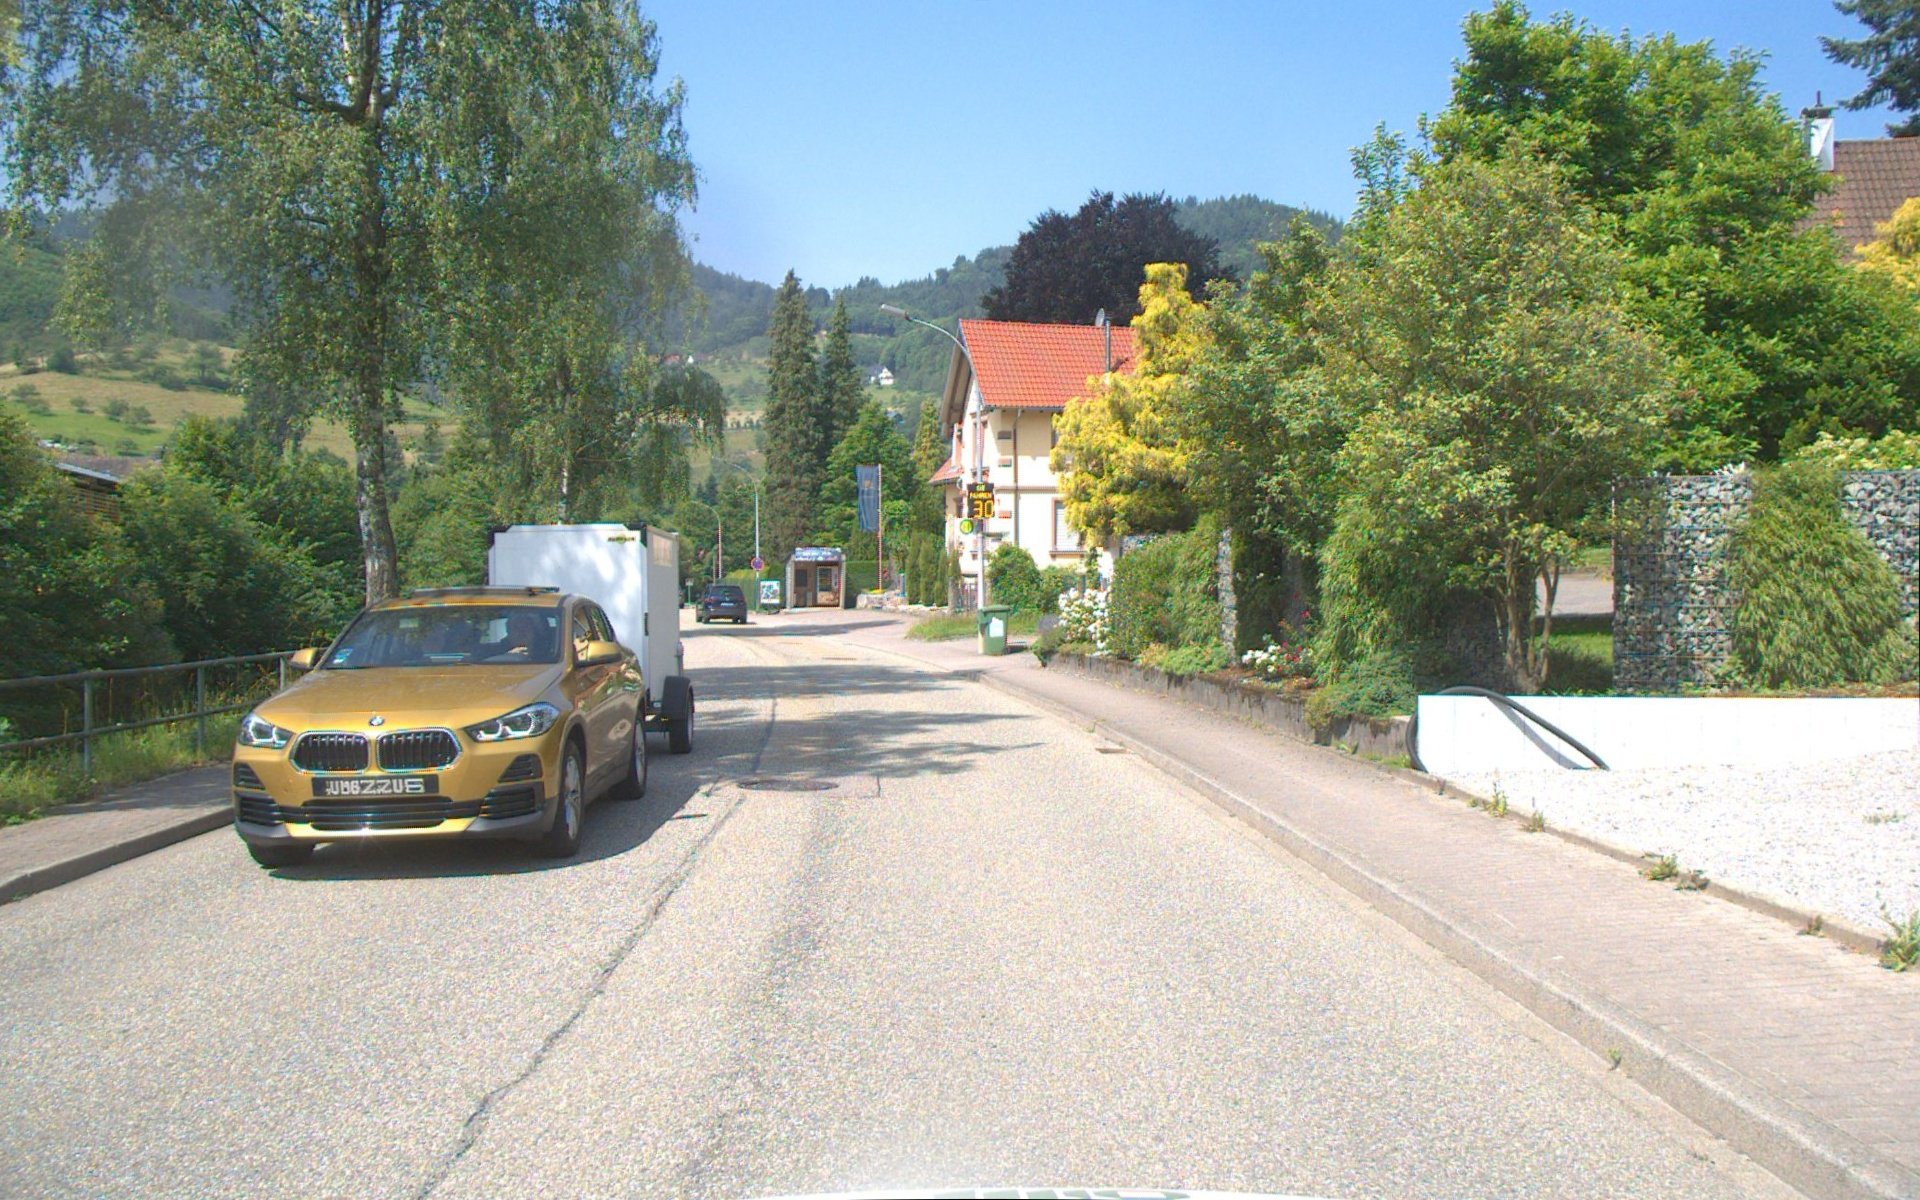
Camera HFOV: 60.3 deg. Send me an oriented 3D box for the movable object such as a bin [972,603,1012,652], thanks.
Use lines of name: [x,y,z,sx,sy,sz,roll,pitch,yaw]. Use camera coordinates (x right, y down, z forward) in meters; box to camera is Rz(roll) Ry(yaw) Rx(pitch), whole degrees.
movable object such as a bin: [0.703,0.603,36.480,0.794,1.060,0.578,-1,1,-9]

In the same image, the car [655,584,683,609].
car: [-17.587,-0.213,100.048,1.598,1.447,3.392,0,0,-8]

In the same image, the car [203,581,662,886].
car: [-3.085,0.673,10.605,1.777,1.527,4.147,-1,0,-3]

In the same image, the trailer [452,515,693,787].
trailer: [-3.343,0.387,14.850,1.437,2.114,3.668,-1,0,-3]

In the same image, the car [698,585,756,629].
car: [-9.773,0.284,69.294,1.889,1.728,3.771,-1,0,-16]
